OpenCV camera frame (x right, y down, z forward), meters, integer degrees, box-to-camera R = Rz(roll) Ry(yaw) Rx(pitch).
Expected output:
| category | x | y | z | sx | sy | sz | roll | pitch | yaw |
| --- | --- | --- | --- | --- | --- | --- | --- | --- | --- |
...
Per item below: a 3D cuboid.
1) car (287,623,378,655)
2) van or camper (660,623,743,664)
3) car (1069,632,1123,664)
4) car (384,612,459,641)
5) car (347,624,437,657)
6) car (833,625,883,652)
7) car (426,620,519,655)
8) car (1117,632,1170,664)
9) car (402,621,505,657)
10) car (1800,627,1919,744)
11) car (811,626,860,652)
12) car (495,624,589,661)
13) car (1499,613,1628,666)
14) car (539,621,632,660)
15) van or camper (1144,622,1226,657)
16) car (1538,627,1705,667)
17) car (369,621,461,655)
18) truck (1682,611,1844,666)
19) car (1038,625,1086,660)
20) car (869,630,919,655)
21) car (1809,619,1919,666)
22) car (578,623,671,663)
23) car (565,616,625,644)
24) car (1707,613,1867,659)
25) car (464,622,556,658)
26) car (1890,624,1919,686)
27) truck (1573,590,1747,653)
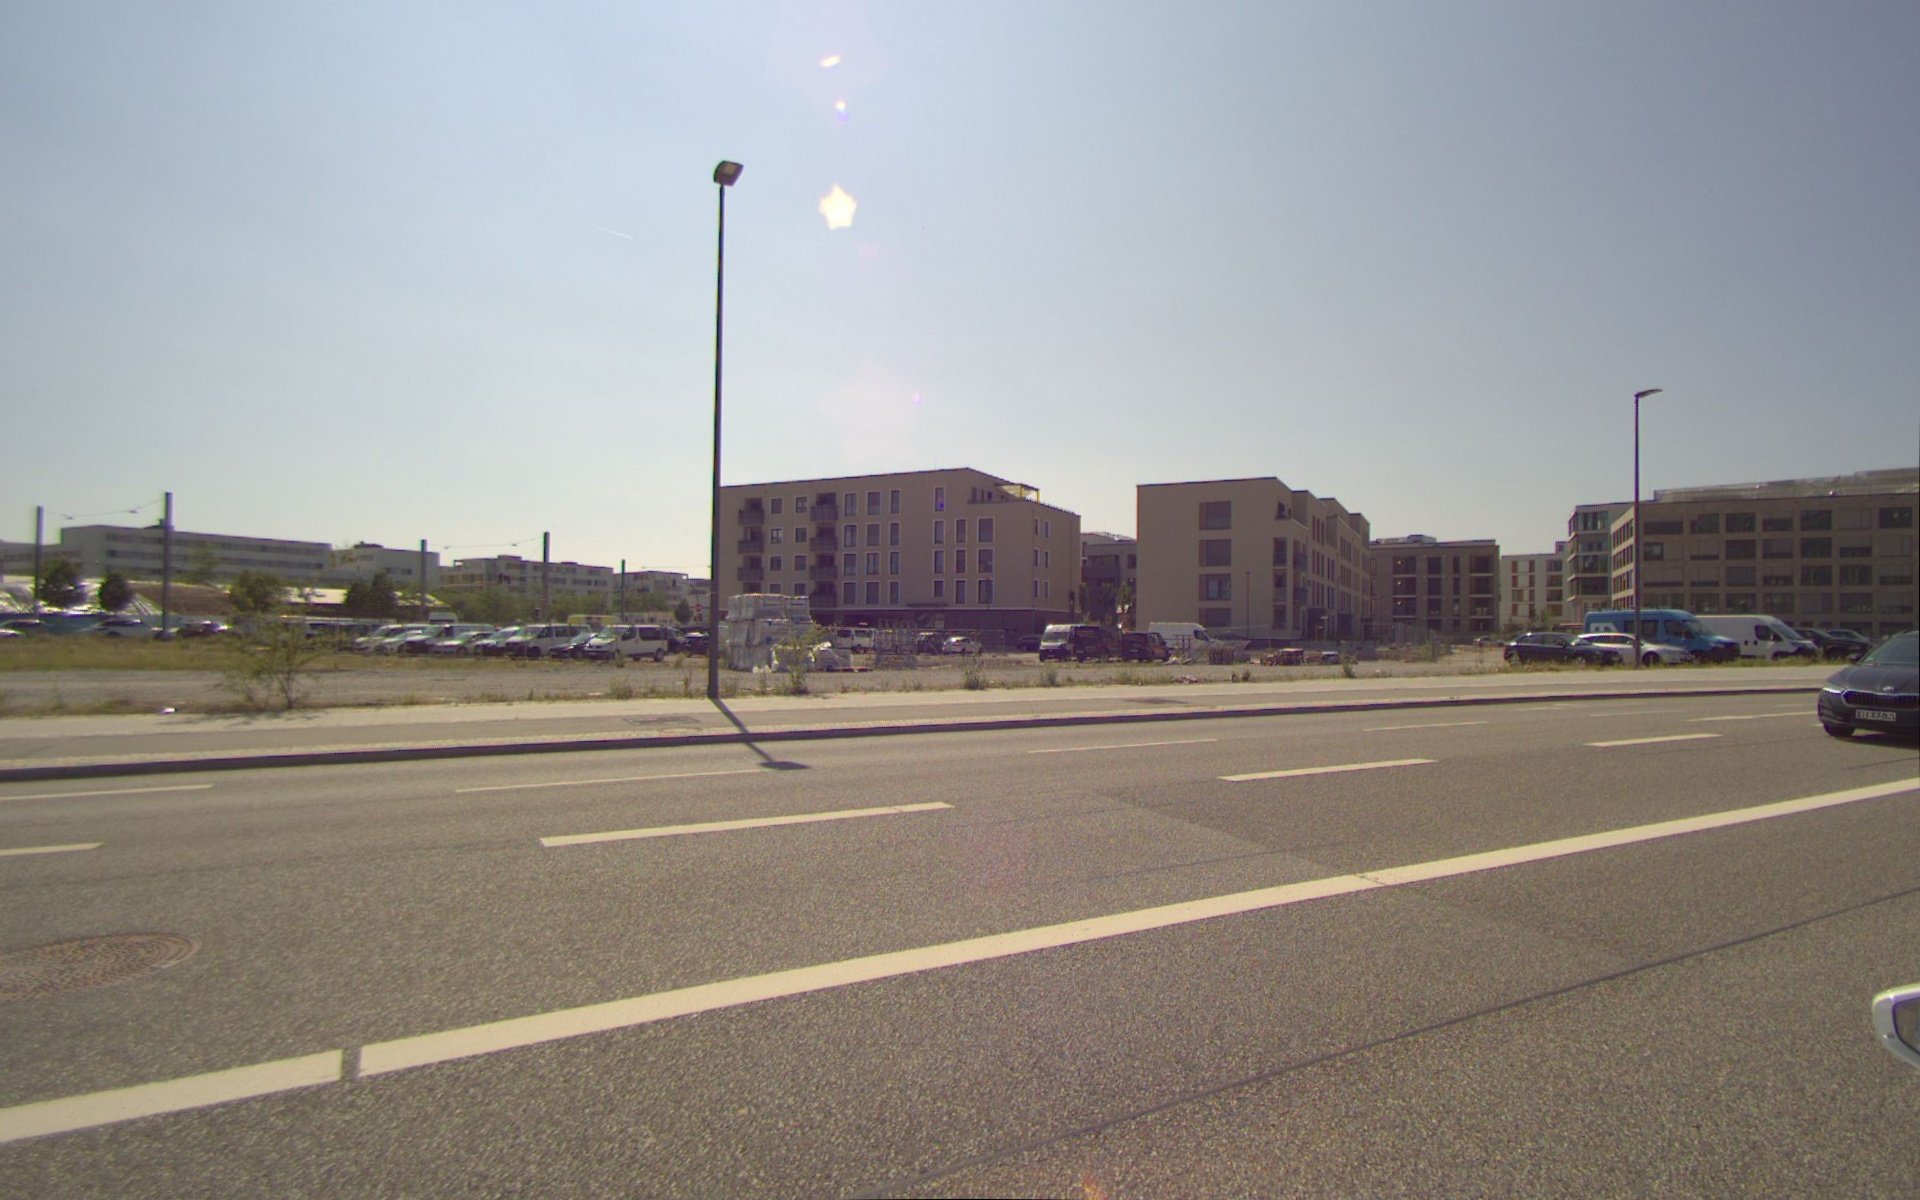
| category | x | y | z | sx | sy | sz | roll | pitch | yaw |
| --- | --- | --- | --- | --- | --- | --- | --- | --- | --- |
| car | -40.923 | 2.536 | 65.634 | 1.963 | 1.996 | 4.648 | -1 | -2 | 28 |
| van or camper | -15.310 | 2.538 | 59.701 | 1.963 | 2.314 | 4.930 | 1 | -1 | 28 |
| car | 8.690 | 2.991 | 63.905 | 1.965 | 1.873 | 3.991 | 1 | -1 | 31 |
| car | -38.441 | 1.921 | 71.823 | 1.805 | 1.996 | 4.476 | -1 | -2 | 28 |
| car | -35.866 | 2.553 | 63.538 | 1.963 | 1.996 | 4.648 | -1 | -2 | 28 |
| car | -8.116 | 3.063 | 80.205 | 1.965 | 2.040 | 3.991 | 1 | -1 | 31 |
| car | -28.560 | 2.215 | 59.045 | 1.963 | 1.996 | 4.648 | -1 | -2 | 28 |
| car | 11.437 | 2.954 | 62.392 | 1.965 | 1.873 | 3.991 | 1 | -1 | 31 |
| car | -30.497 | 2.303 | 60.676 | 1.963 | 1.996 | 5.389 | 1 | -1 | 28 |
| car | 13.607 | 1.116 | 13.712 | 4.515 | 1.416 | 1.780 | 2 | -1 | -29 |
| car | -10.219 | 3.189 | 82.462 | 1.965 | 2.040 | 3.991 | 1 | -1 | 31 |
| car | -23.412 | 2.366 | 56.450 | 1.963 | 1.996 | 4.648 | -1 | -2 | 28 |
| car | 22.976 | 1.497 | 38.405 | 1.801 | 1.929 | 3.980 | 1 | -2 | -22 |
| car | -20.500 | 2.222 | 55.189 | 1.963 | 2.040 | 4.648 | -1 | -2 | 28 |
| van or camper | 16.969 | 2.971 | 75.896 | 5.815 | 2.592 | 1.935 | 0 | -2 | 23 |
| car | 27.915 | 1.943 | 42.616 | 2.083 | 1.494 | 5.621 | 1 | -1 | -31 |
| car | -33.428 | 2.314 | 61.771 | 1.963 | 1.996 | 4.648 | -1 | -2 | 28 |
| truck | 37.668 | 1.805 | 47.326 | 2.249 | 2.393 | 5.540 | 1 | -2 | -31 |
| car | 6.899 | 2.832 | 67.711 | 1.962 | 2.270 | 3.997 | 1 | -1 | 25 |
| car | -5.178 | 3.327 | 79.400 | 1.965 | 1.810 | 3.991 | 1 | -1 | 31 |
| car | 45.860 | 2.094 | 49.741 | 2.369 | 2.201 | 5.413 | 2 | -2 | -33 |
| car | -17.978 | 2.317 | 54.018 | 1.963 | 2.040 | 4.648 | -1 | -2 | 28 |
| car | -27.250 | 2.240 | 75.130 | 1.963 | 2.040 | 3.996 | -1 | -2 | 26 |
| car | 42.162 | 1.809 | 51.387 | 2.369 | 2.194 | 5.851 | 1 | -2 | -32 |
| car | -26.023 | 2.318 | 58.247 | 1.963 | 1.996 | 4.648 | -1 | -2 | 28 |
| car | 25.824 | 1.399 | 25.238 | 4.321 | 1.515 | 1.900 | 1 | -1 | -21 |
| truck | 30.978 | 1.001 | 44.688 | 2.251 | 2.576 | 5.970 | 2 | -2 | -33 |
